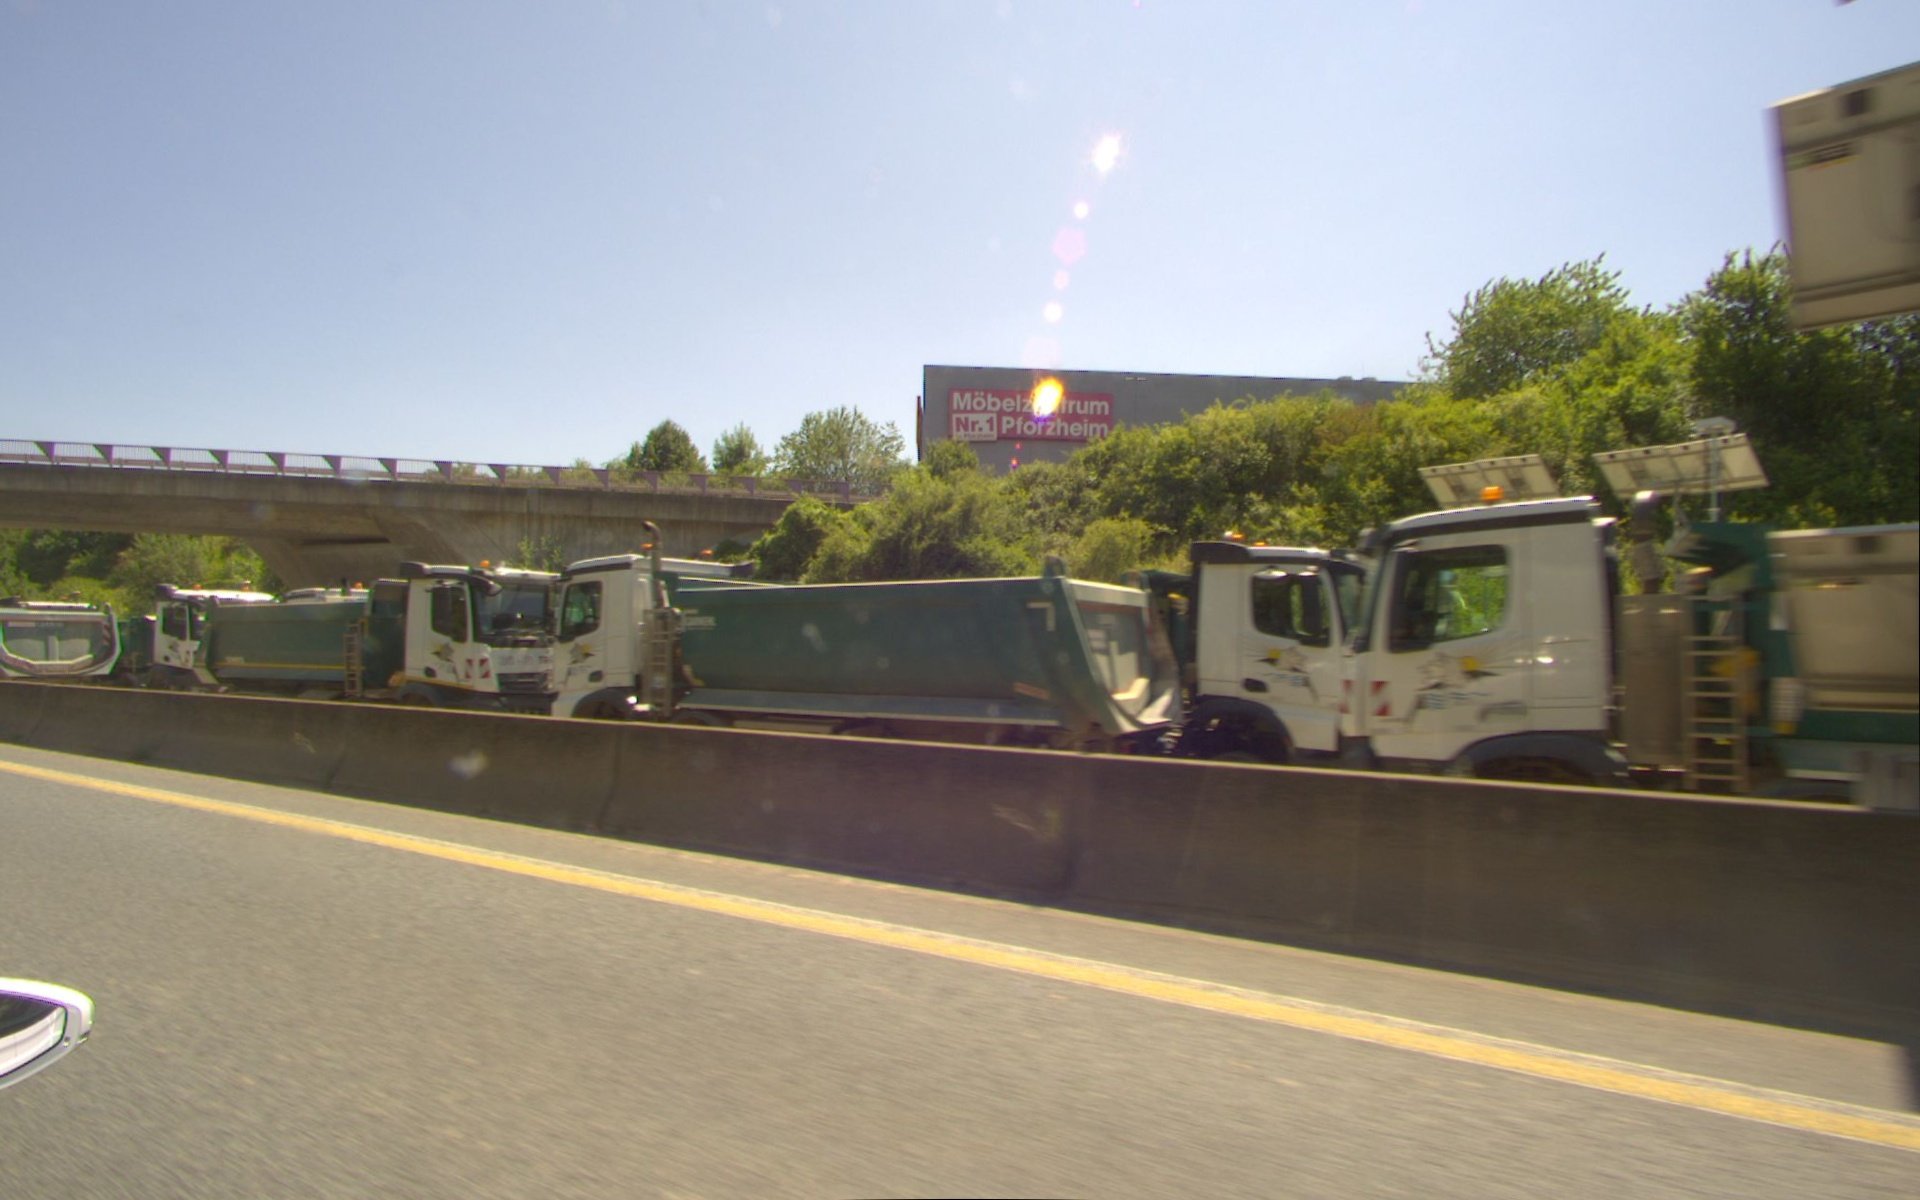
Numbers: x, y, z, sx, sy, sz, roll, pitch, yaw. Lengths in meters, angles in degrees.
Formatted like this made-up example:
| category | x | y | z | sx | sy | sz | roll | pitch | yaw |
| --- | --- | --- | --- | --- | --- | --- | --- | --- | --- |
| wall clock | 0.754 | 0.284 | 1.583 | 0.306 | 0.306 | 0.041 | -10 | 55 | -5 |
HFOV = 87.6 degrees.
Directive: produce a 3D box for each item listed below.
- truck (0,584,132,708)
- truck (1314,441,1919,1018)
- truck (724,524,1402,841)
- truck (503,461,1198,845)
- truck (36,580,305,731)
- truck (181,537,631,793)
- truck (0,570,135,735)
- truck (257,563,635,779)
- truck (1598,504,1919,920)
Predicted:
| category | x | y | z | sx | sy | sz | roll | pitch | yaw |
| --- | --- | --- | --- | --- | --- | --- | --- | --- | --- |
| truck | -31.796 | 1.523 | 34.043 | 9.188 | 3.774 | 2.684 | -1 | -2 | 31 |
| truck | 7.526 | 0.837 | 6.886 | 9.272 | 3.602 | 2.683 | -1 | -2 | 33 |
| truck | 1.058 | 0.998 | 14.386 | 9.461 | 3.420 | 2.684 | -1 | -2 | 31 |
| truck | -1.825 | 0.604 | 12.951 | 9.188 | 3.602 | 2.684 | -1 | -2 | 31 |
| truck | -21.842 | 1.441 | 27.515 | 9.188 | 3.602 | 2.684 | -1 | -2 | 31 |
| truck | -10.033 | 1.023 | 17.656 | 9.188 | 3.602 | 2.684 | -1 | -2 | 31 |
| truck | -25.401 | 1.314 | 26.411 | 9.189 | 3.808 | 2.684 | -1 | -2 | 31 |
| truck | -11.120 | 1.368 | 21.229 | 9.189 | 3.808 | 2.684 | -1 | -2 | 31 |
| truck | 10.753 | 0.929 | 8.022 | 9.466 | 3.420 | 2.683 | -1 | -2 | 33 |
